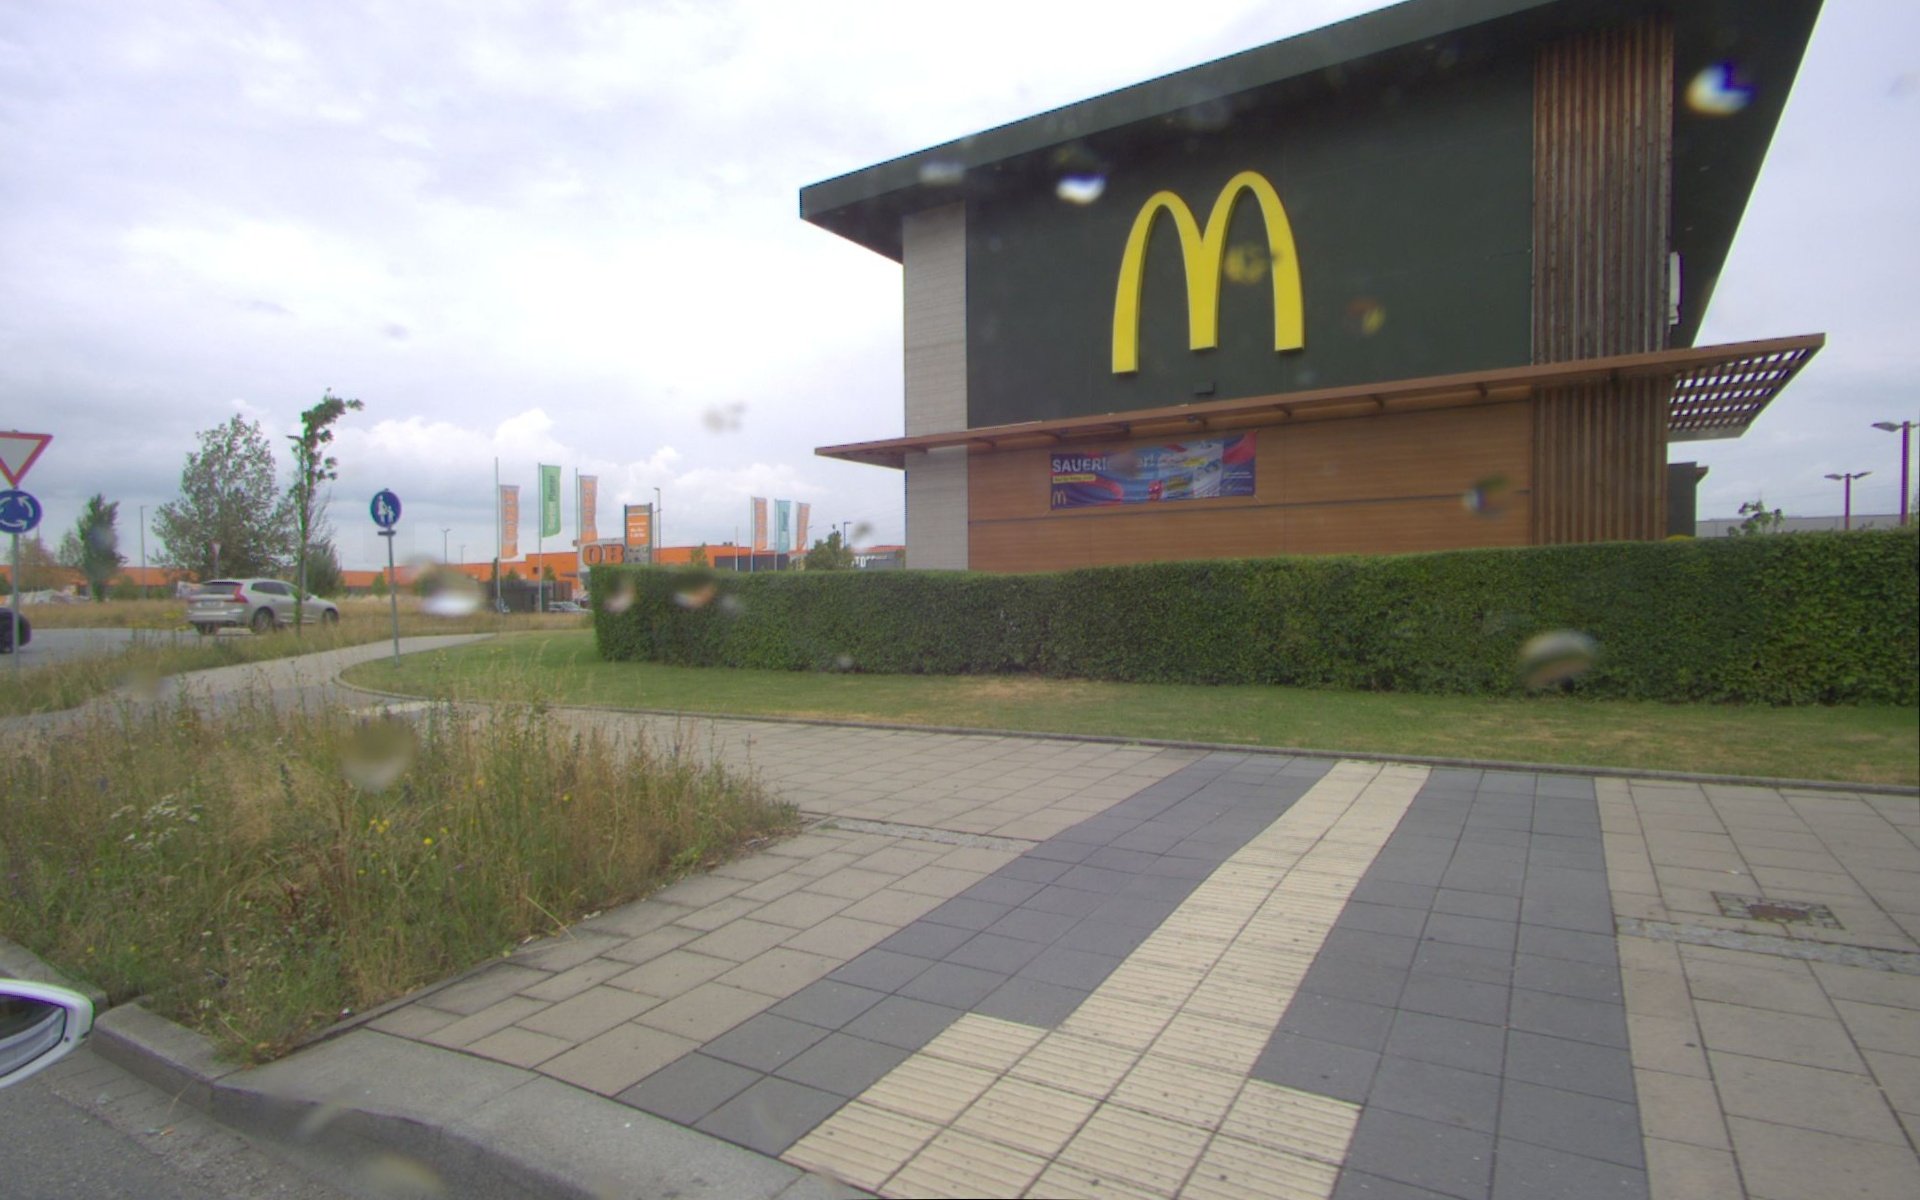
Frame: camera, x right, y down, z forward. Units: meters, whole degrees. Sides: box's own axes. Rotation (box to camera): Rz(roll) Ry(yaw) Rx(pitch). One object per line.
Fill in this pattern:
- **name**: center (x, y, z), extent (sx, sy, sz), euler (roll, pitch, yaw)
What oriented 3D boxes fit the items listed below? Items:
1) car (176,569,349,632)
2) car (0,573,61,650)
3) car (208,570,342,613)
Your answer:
- **car**: center (-21.427, -0.067, 31.059), extent (1.906, 1.762, 4.771), euler (1, 2, 2)
- **car**: center (-20.295, 0.262, 18.998), extent (1.906, 1.519, 4.771), euler (1, 2, 5)
- **car**: center (-28.152, -0.371, 41.243), extent (1.849, 1.671, 4.301), euler (3, 3, 43)
